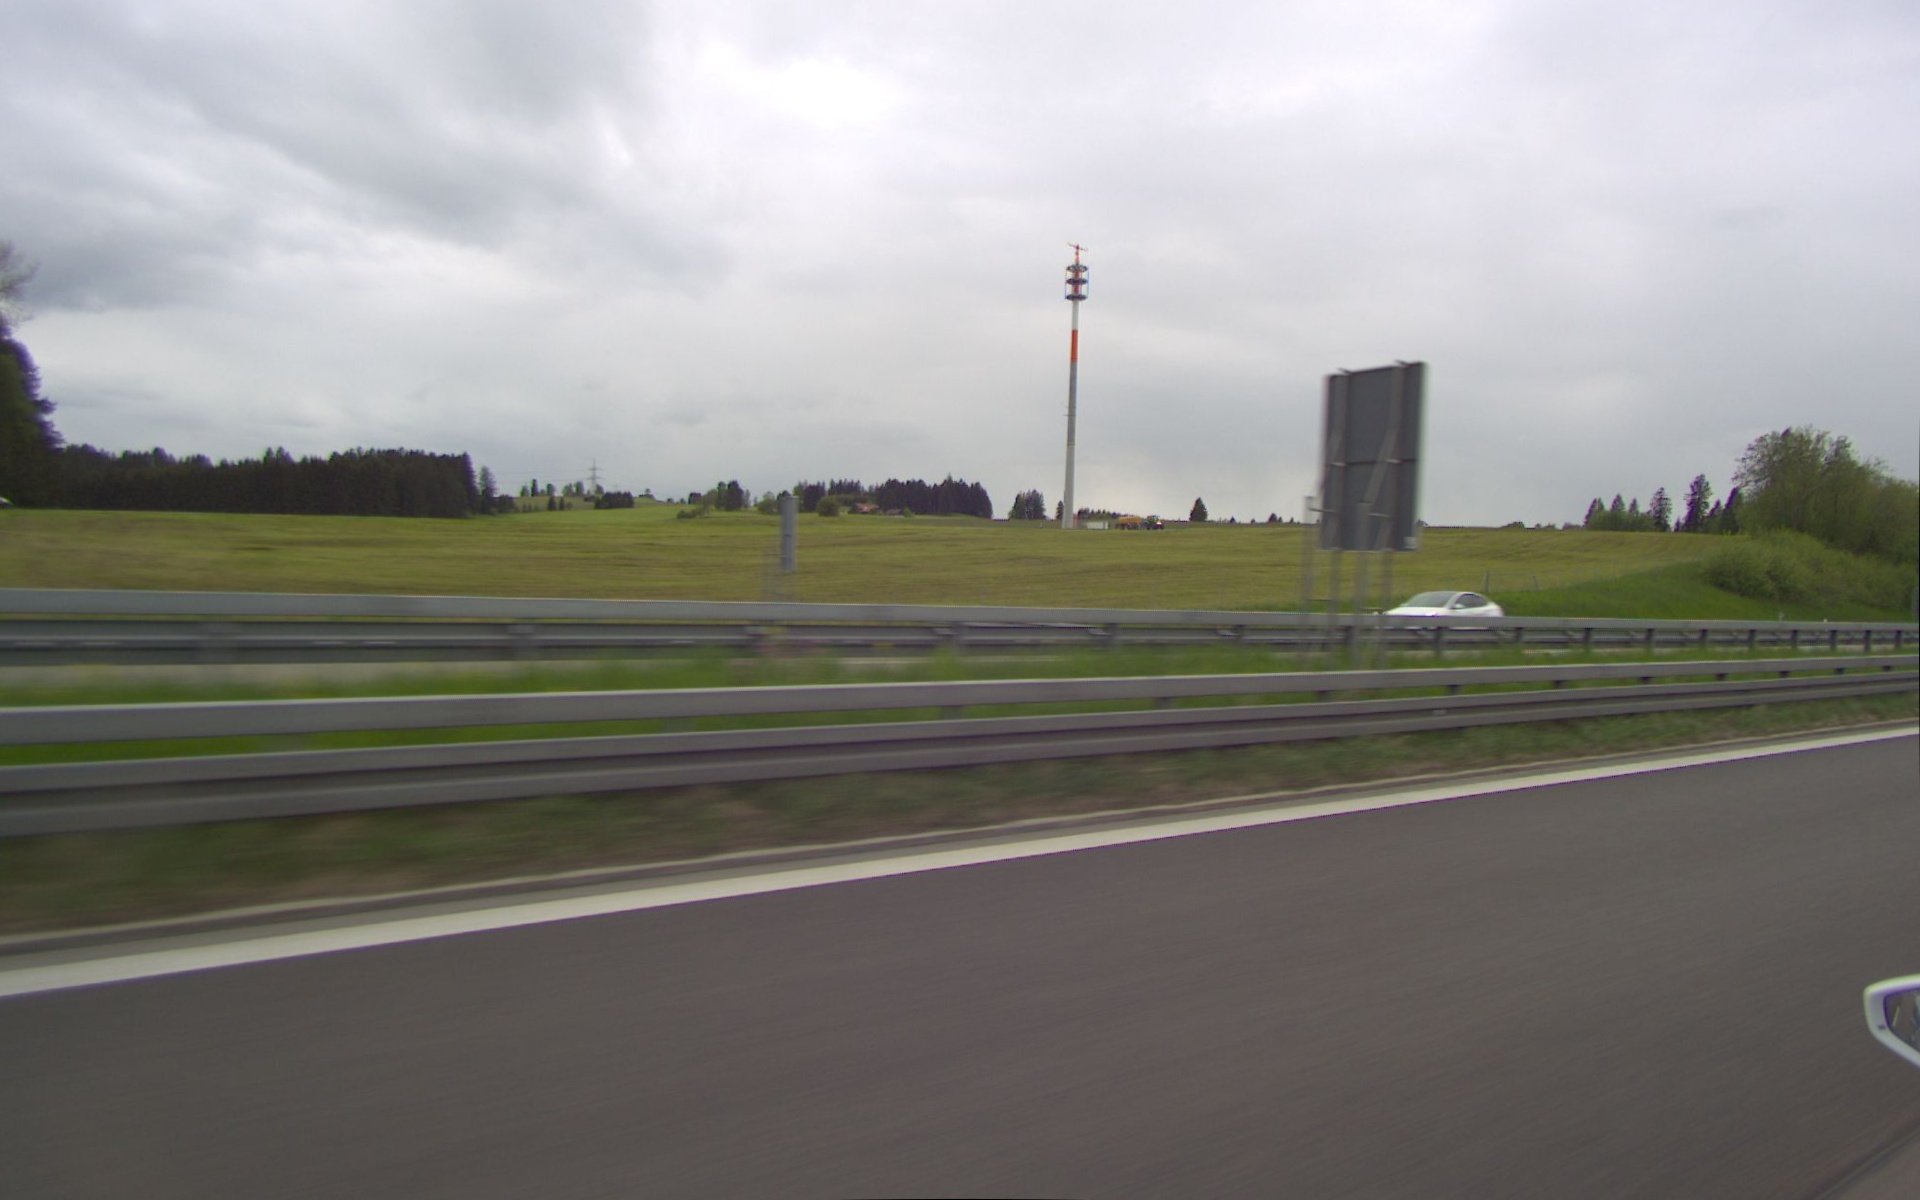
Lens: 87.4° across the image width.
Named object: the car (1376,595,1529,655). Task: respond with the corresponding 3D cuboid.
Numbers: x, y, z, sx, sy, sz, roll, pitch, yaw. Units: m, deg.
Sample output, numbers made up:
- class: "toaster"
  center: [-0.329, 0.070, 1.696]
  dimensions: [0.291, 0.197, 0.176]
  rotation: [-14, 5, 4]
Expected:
- class: "car"
  center: [16.102, 0.796, 32.775]
  dimensions: [4.997, 1.713, 2.024]
  rotation: [1, 3, -31]
